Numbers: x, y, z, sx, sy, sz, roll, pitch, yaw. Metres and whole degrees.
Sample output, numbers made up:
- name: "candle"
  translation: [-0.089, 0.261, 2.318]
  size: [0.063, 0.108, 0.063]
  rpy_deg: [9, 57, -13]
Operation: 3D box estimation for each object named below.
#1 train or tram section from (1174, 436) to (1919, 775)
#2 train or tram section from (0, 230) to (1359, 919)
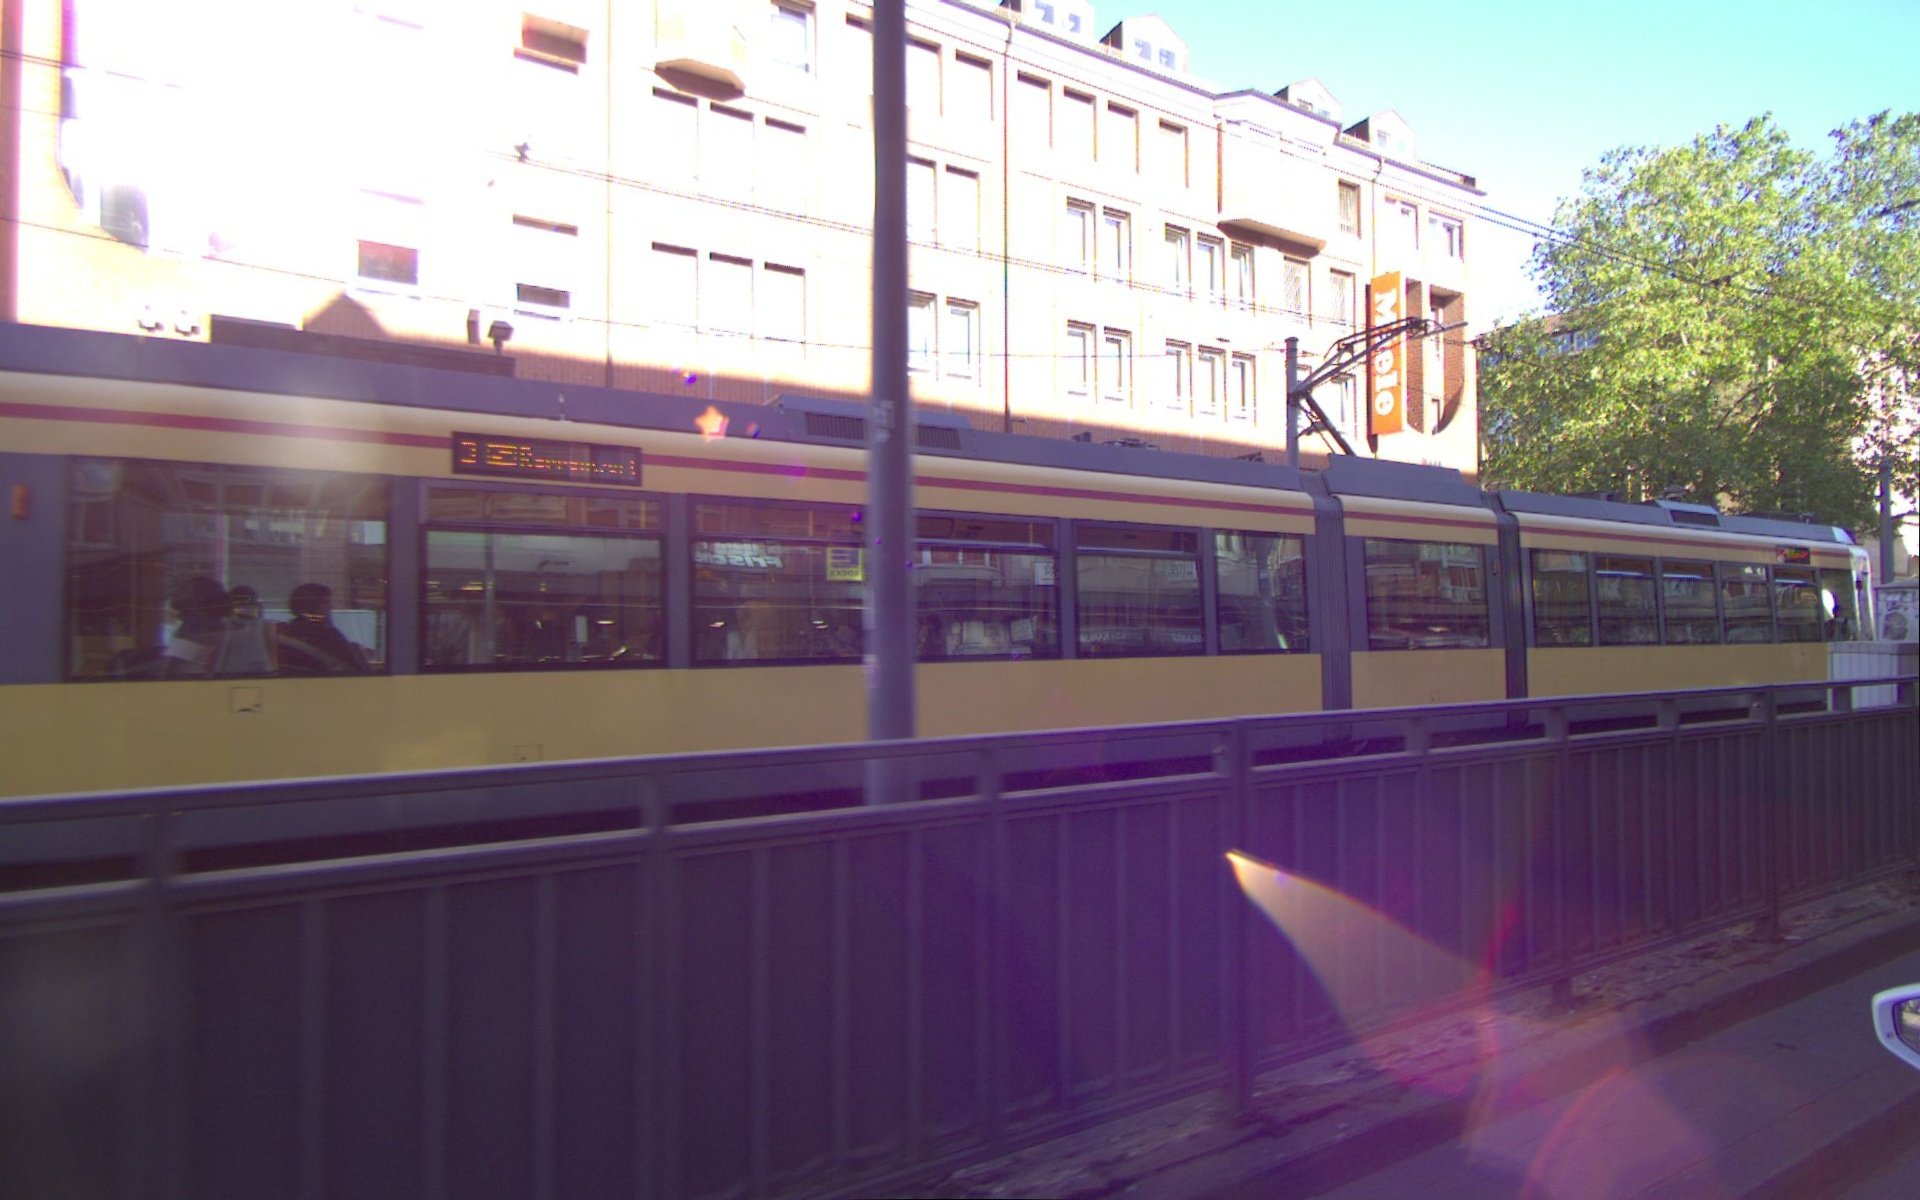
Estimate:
- name: "train or tram section"
  translation: [10.650, 0.054, 16.322]
  size: [16.288, 3.693, 2.960]
  rpy_deg: [0, 0, -30]
- name: "train or tram section"
  translation: [-2.364, -0.090, 8.710]
  size: [13.777, 3.693, 2.960]
  rpy_deg: [1, 0, -30]
